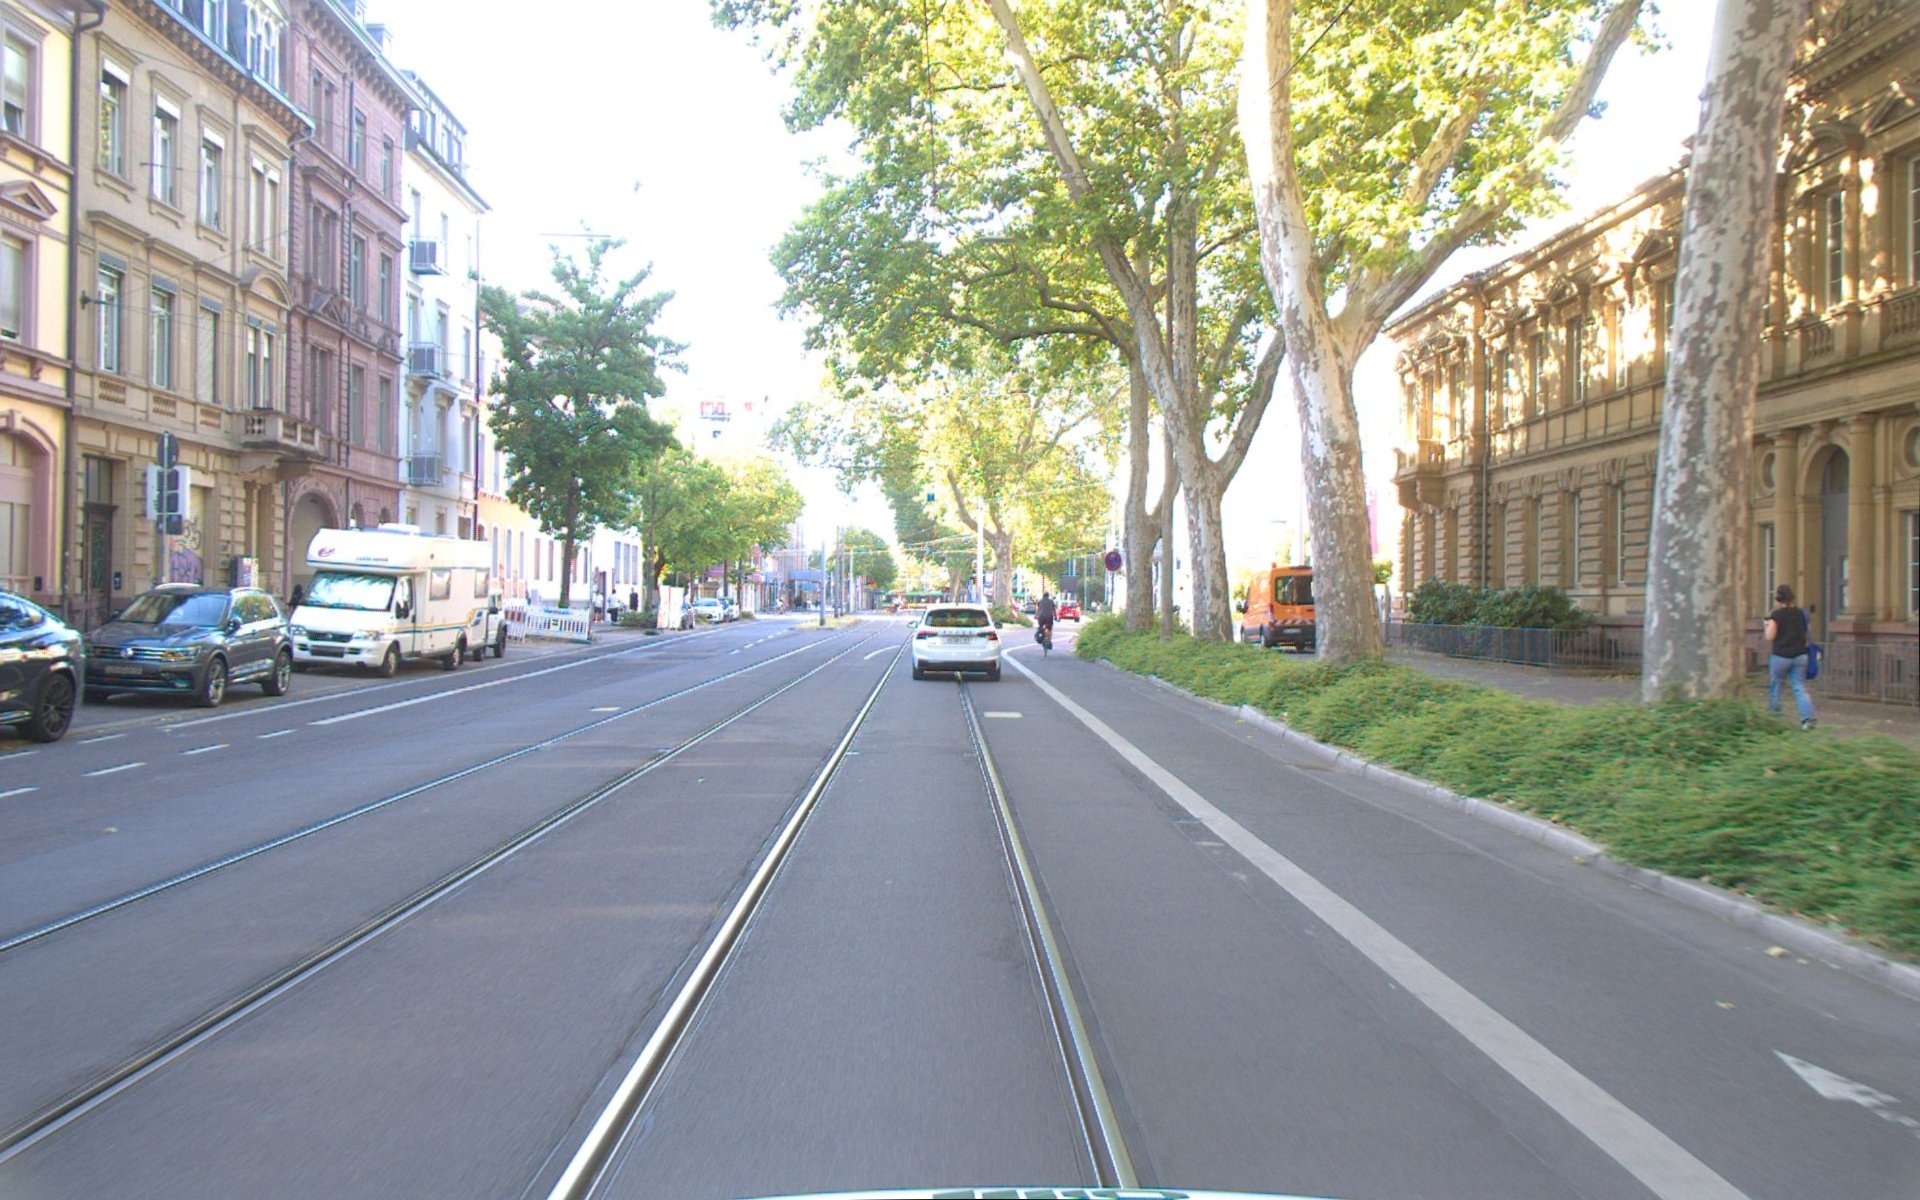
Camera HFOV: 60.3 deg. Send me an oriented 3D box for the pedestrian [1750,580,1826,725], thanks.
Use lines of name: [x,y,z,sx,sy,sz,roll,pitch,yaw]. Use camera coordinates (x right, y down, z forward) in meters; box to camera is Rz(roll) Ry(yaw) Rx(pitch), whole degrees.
pedestrian: [9.835,0.614,19.664,0.634,1.661,0.872,2,-1,17]

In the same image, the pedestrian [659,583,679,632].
pedestrian: [-12.180,0.303,69.325,0.633,2.037,0.750,1,0,3]

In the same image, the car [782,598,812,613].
car: [-21.493,0.749,218.311,3.713,1.850,1.804,2,0,4]

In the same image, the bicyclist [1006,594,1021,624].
bicyclist: [2.842,0.495,88.396,0.721,1.617,0.587,0,0,10]

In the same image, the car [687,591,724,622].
car: [-15.043,0.352,97.778,1.758,1.756,3.782,1,0,-3]

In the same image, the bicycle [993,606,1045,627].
bicycle: [3.147,0.878,88.334,2.711,1.017,0.593,2,0,13]

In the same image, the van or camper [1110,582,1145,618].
van or camper: [11.708,0.004,115.911,1.953,2.384,3.999,2,0,-1]

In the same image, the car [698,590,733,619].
car: [-15.260,0.270,103.289,1.758,1.756,3.782,1,0,-3]

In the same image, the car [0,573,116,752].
car: [-10.820,0.609,16.978,1.925,1.812,4.934,3,0,-4]

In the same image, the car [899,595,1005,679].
car: [-0.215,0.687,32.445,1.806,1.506,3.835,2,0,-4]

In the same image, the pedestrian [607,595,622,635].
pedestrian: [-16.010,0.703,76.667,0.589,1.803,0.700,2,-1,-7]

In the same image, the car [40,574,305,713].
car: [-11.425,0.581,24.378,1.925,1.812,4.468,1,0,-3]

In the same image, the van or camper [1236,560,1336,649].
van or camper: [9.826,0.148,50.275,1.986,2.507,5.108,2,0,0]

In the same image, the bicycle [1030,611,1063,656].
bicycle: [2.401,0.914,46.178,0.666,1.175,2.963,2,0,-2]

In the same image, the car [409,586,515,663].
car: [-12.140,0.562,40.512,1.608,1.756,3.782,1,0,-3]

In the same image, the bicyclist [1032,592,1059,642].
bicyclist: [2.391,0.470,46.157,0.665,1.362,0.525,2,-1,-2]

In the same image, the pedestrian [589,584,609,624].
pedestrian: [-18.318,0.195,83.935,0.734,2.037,0.646,1,0,36]

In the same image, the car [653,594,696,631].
car: [-13.940,0.599,80.944,1.608,1.756,3.782,1,0,-3]

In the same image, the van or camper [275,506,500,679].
van or camper: [-11.714,-0.141,34.563,2.171,3.195,7.112,1,0,0]

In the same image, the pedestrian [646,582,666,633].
pedestrian: [-12.306,0.303,67.035,0.588,2.037,0.750,1,0,3]
